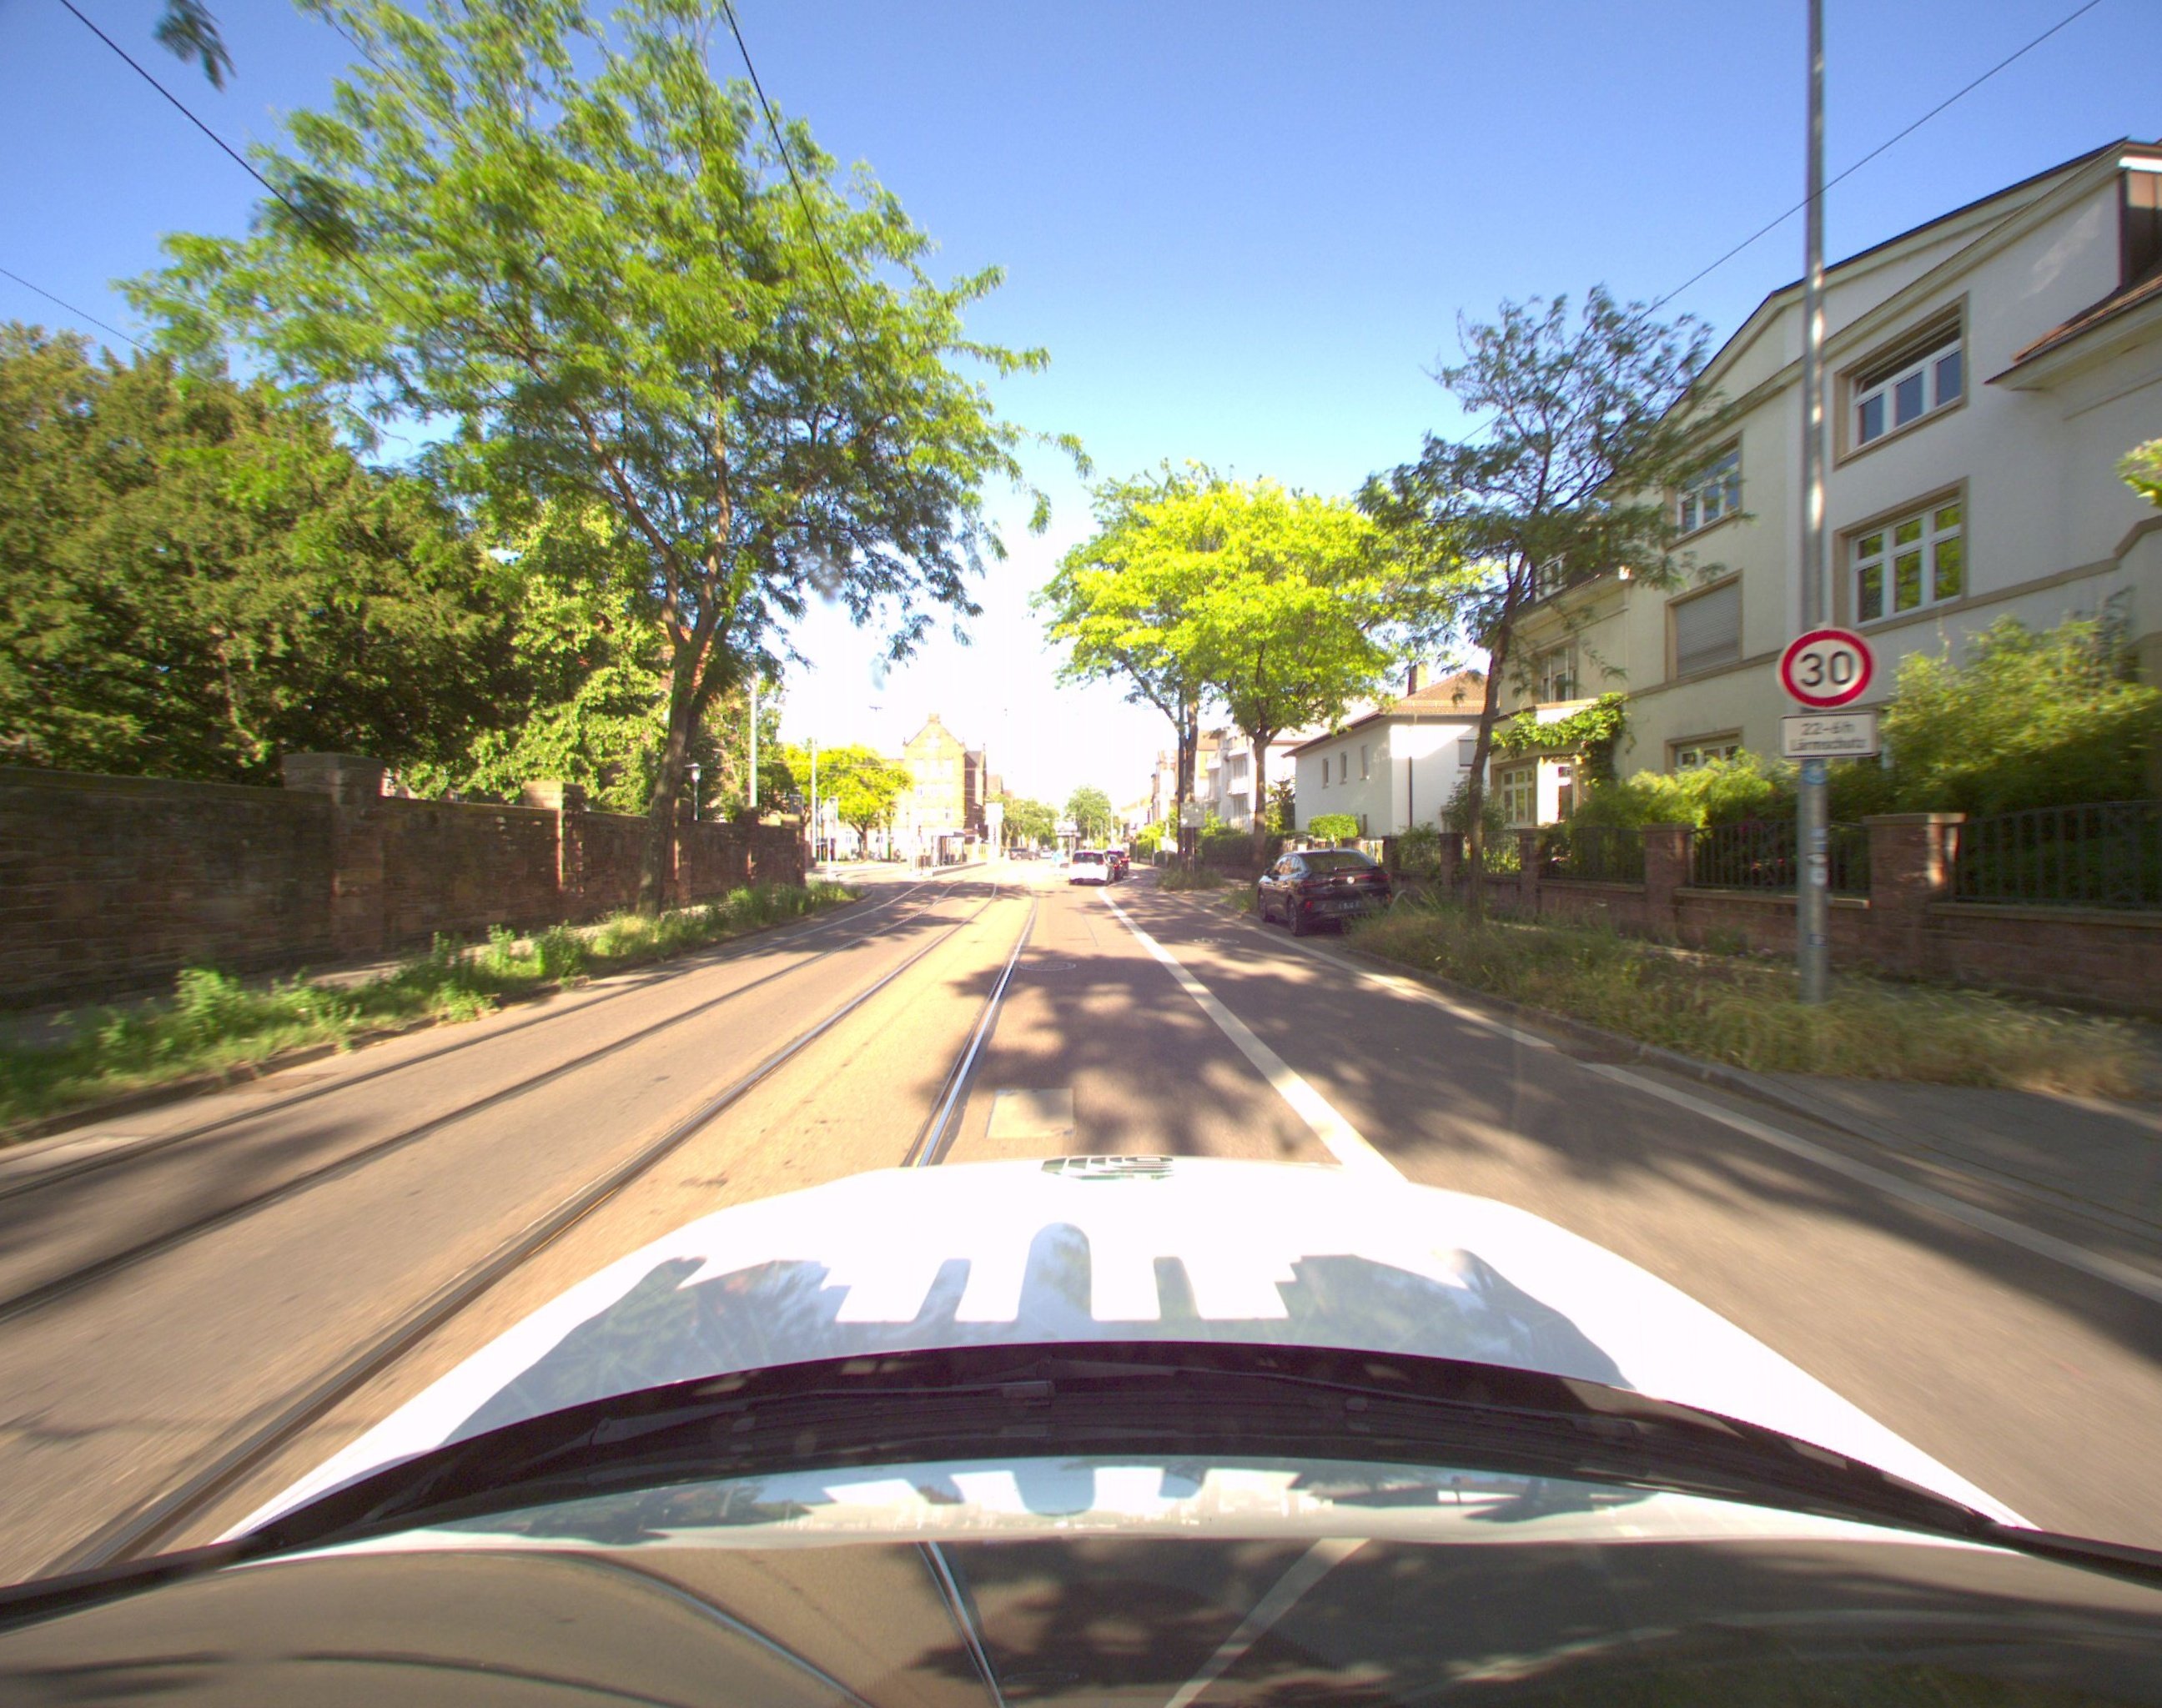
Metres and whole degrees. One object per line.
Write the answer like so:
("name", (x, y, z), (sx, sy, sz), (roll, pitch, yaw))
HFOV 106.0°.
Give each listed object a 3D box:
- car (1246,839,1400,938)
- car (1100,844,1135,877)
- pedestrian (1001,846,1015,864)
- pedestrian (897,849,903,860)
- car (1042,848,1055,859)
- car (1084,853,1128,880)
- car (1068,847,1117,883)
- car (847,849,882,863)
("car", (4.887, 0.623, 17.187), (1.798, 1.694, 4.729), (-4, 0, 0))
("car", (2.336, 0.376, 51.327), (1.699, 2.013, 3.916), (-1, 0, 9))
("pedestrian", (-8.246, 0.148, 91.815), (1.146, 2.013, 1.125), (0, 0, 18))
("pedestrian", (-20.515, 0.093, 92.533), (0.556, 1.259, 0.530), (-1, 0, -2))
("car", (-5.515, -0.097, 138.246), (1.987, 1.913, 4.000), (0, 0, 0))
("car", (1.434, 0.667, 45.197), (1.982, 1.442, 4.010), (-1, 0, 9))
("car", (0.609, 0.563, 38.594), (1.882, 1.611, 4.237), (0, -2, 7))
("car", (-26.961, 0.221, 101.512), (3.981, 1.789, 1.996), (0, 0, -5))
